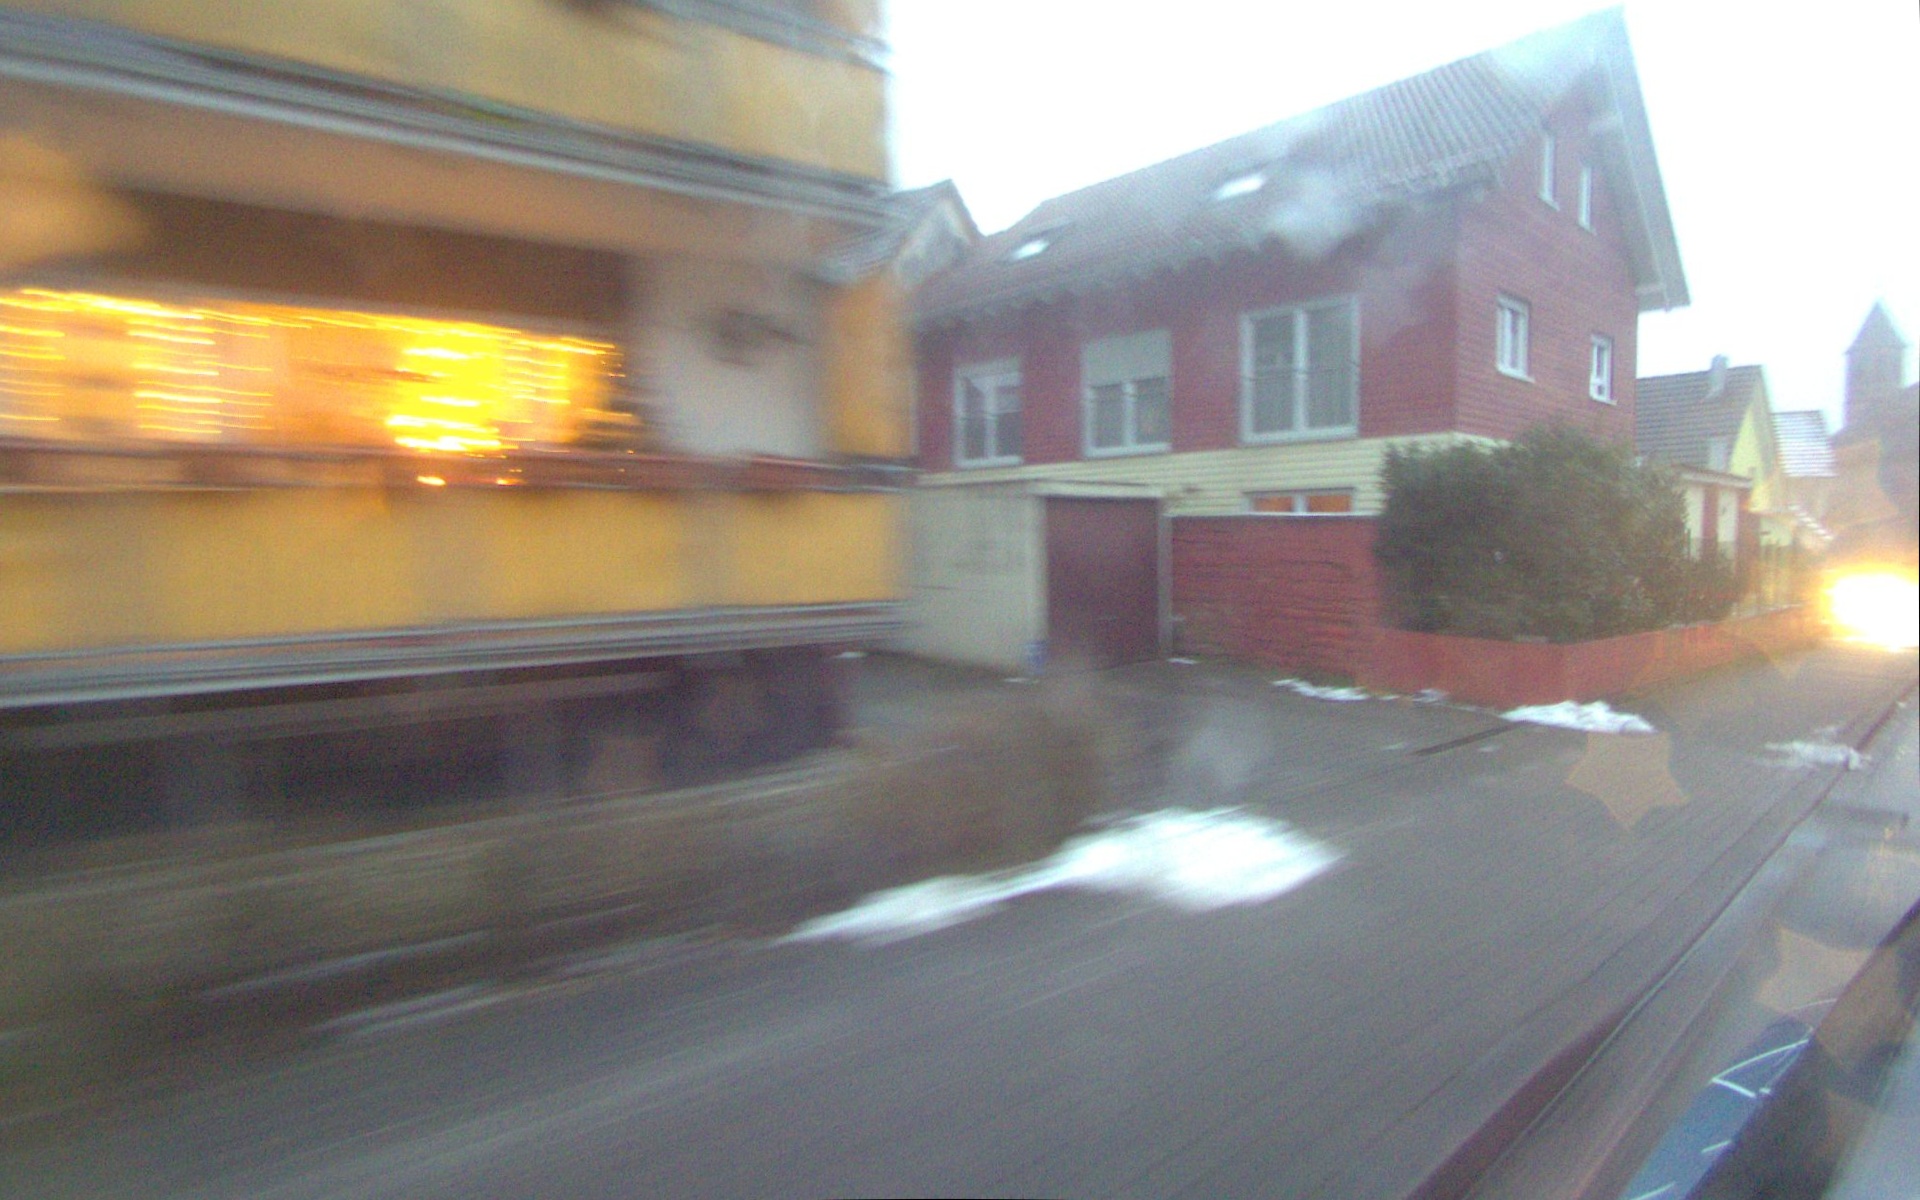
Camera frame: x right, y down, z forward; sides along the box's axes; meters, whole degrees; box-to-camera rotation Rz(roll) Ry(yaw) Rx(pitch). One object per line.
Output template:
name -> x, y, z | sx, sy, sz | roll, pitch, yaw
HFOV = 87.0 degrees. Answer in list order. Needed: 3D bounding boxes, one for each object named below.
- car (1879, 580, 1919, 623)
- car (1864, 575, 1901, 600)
car -> 47.804, 0.056, 50.744 | 1.986, 2.038, 3.952 | 0, 1, 34
car -> 60.928, -0.823, 66.876 | 1.759, 1.516, 3.940 | -1, 1, 42
